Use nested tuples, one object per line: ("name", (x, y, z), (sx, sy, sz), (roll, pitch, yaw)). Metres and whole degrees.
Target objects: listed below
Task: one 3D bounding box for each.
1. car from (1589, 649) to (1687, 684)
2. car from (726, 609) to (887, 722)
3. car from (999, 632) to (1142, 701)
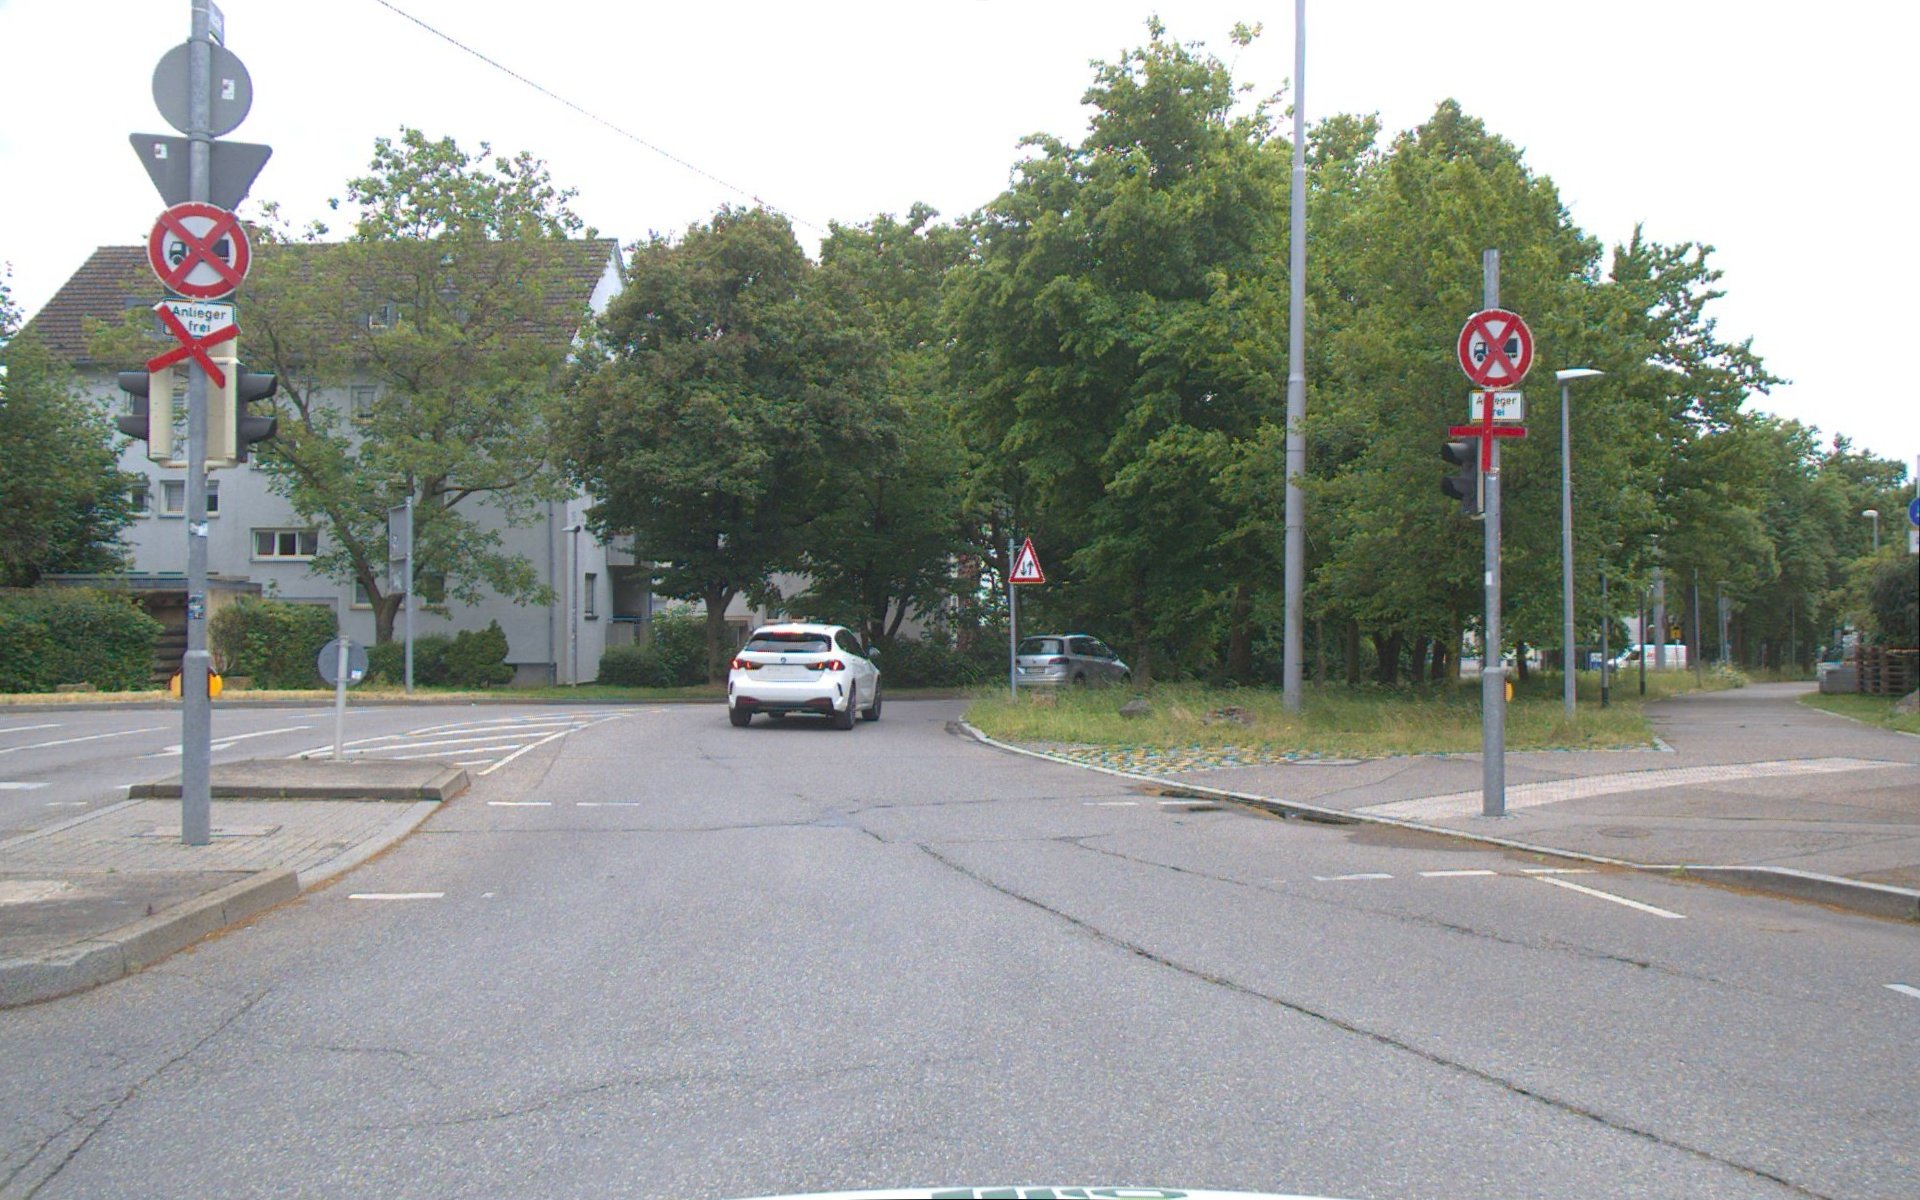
("car", (53.028, 5.181, 129.501), (6.814, 2.566, 2.085), (1, -1, 1))
("car", (-2.213, 1.015, 24.988), (1.758, 1.544, 4.208), (1, -3, 4))
("car", (2.761, 1.650, 40.578), (1.888, 1.602, 3.990), (-1, -3, 31))
